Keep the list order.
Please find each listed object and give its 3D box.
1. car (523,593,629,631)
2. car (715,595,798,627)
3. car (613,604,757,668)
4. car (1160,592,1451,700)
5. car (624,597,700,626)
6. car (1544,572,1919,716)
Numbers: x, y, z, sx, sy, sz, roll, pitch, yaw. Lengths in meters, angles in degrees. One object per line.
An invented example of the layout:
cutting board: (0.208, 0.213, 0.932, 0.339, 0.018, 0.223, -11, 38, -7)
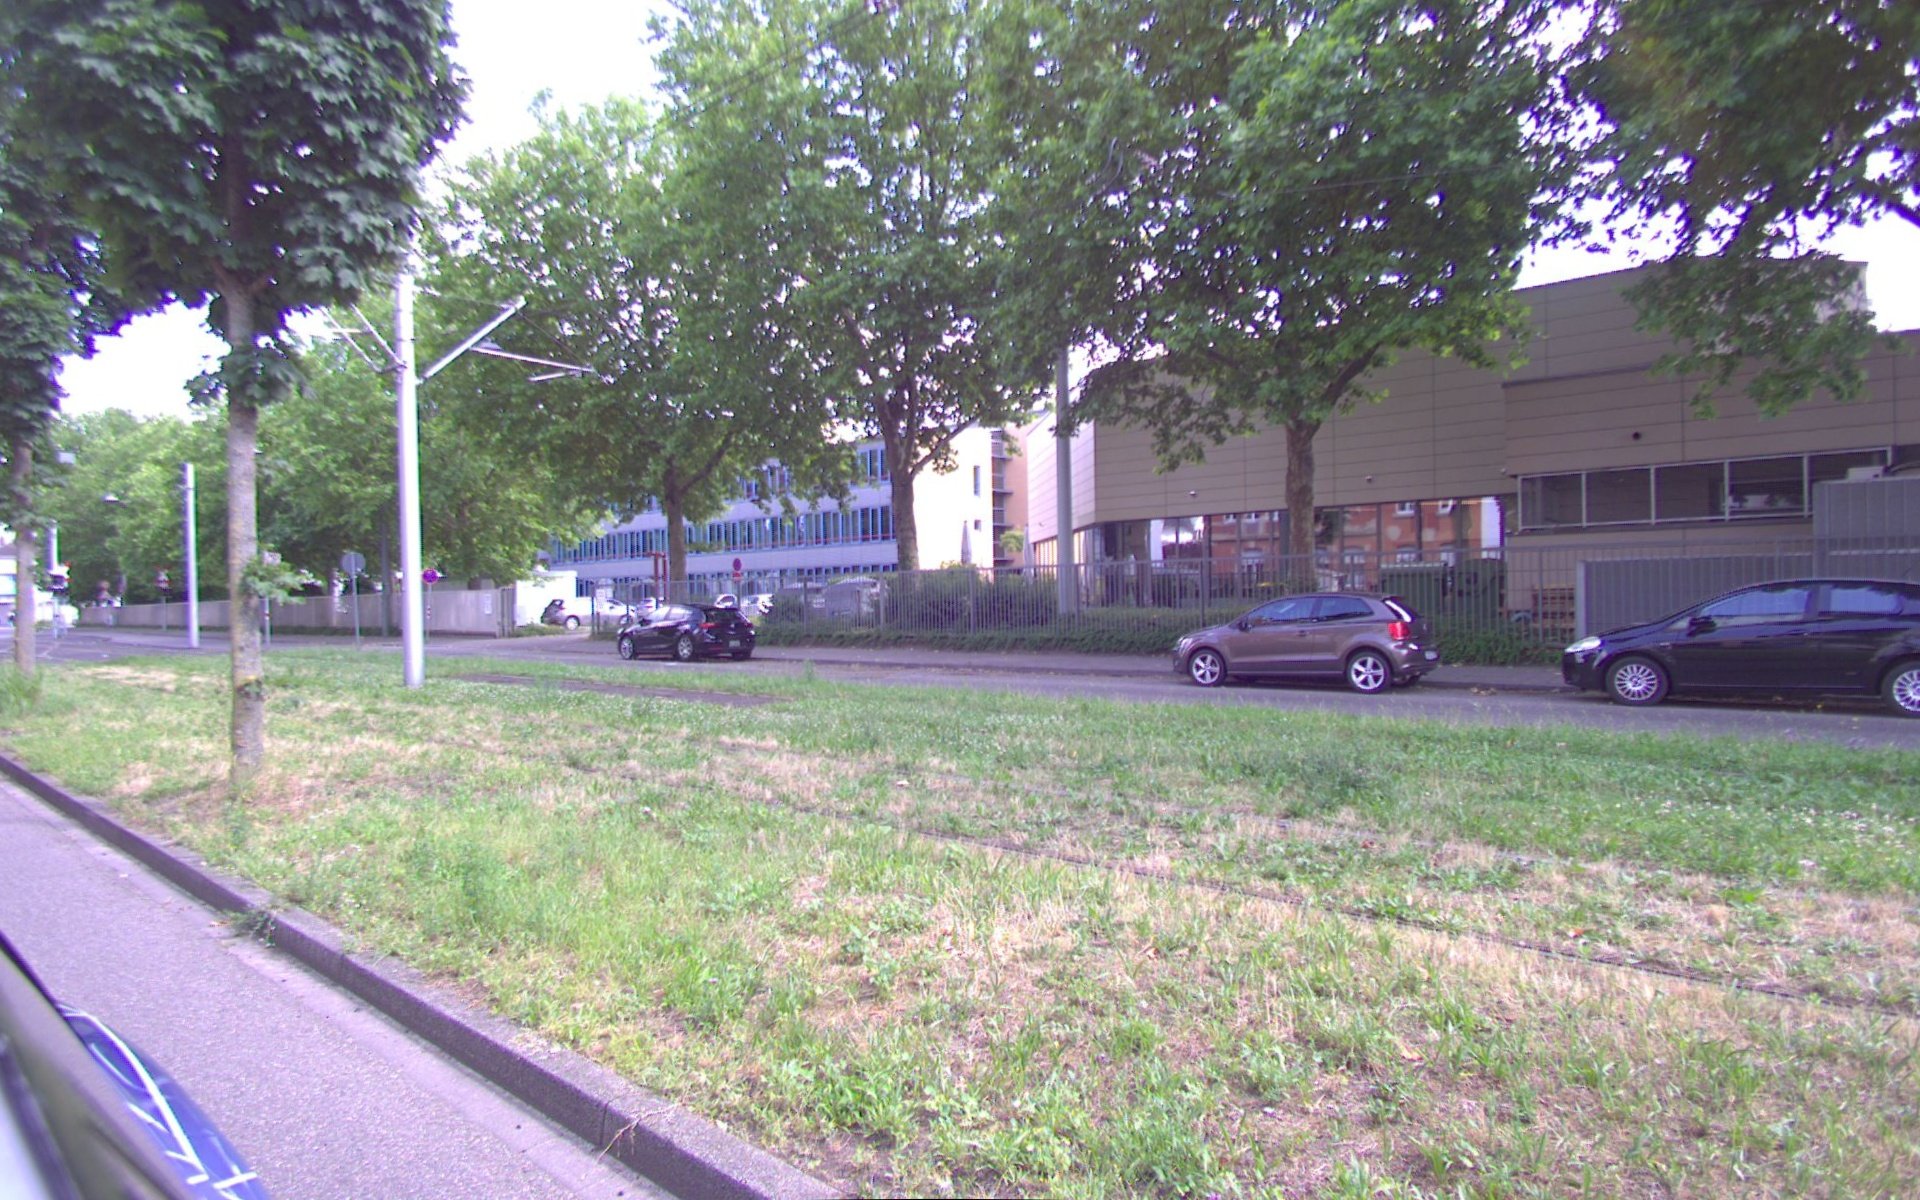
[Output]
car: (-16.948, 0.508, 44.839, 1.998, 1.630, 3.948, -1, 0, 38)
car: (-10.720, 0.559, 53.476, 1.998, 1.630, 3.948, -1, 0, 38)
car: (-6.985, 0.869, 25.516, 3.999, 1.475, 1.580, -1, 0, 42)
car: (5.158, 0.640, 15.400, 3.899, 1.436, 1.538, -1, 0, 40)
car: (-17.781, 0.678, 60.594, 1.998, 1.630, 3.948, -1, 0, 38)
car: (9.305, 0.452, 11.822, 4.000, 1.464, 1.783, -1, 0, 43)
